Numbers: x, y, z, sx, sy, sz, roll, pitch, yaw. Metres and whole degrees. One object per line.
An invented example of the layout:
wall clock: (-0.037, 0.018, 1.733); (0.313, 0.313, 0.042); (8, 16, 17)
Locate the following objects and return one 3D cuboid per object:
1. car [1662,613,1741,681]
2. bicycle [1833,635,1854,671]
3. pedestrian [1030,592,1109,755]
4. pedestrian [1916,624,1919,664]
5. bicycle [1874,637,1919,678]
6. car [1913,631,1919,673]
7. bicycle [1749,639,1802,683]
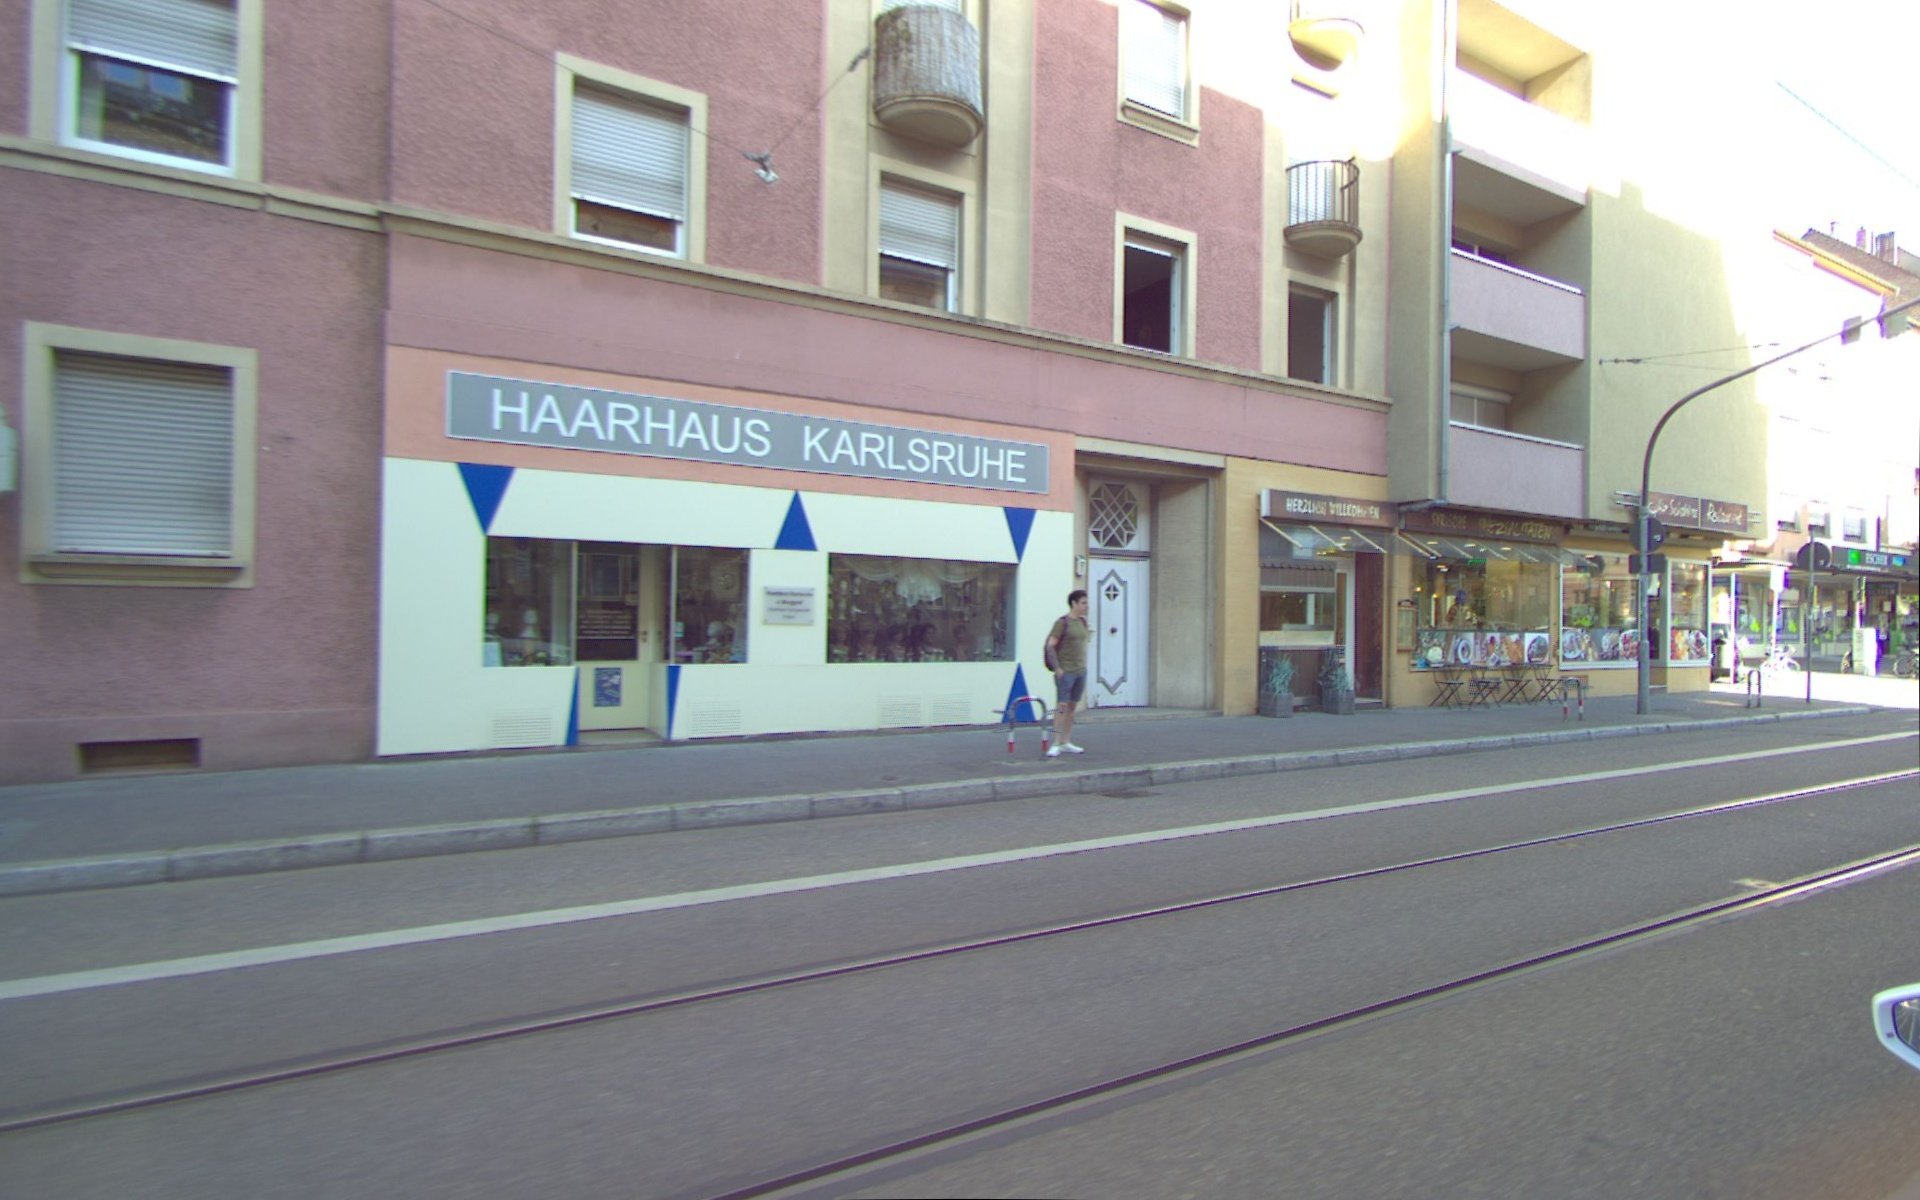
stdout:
car: (23.704, 1.447, 32.065); (1.821, 1.841, 4.338); (-3, 0, 38)
bicycle: (28.296, 1.693, 32.194); (0.398, 1.124, 1.830); (0, -2, 38)
pedestrian: (1.187, 0.776, 10.943); (0.609, 1.708, 0.560); (2, 0, -32)
pedestrian: (40.061, 1.831, 41.558); (0.634, 1.674, 0.566); (1, 0, -30)
bicycle: (28.873, 1.746, 30.344); (0.670, 1.124, 2.437); (-1, 1, 10)
car: (32.331, 1.710, 31.334); (3.406, 1.355, 1.623); (1, 0, 26)
bicycle: (24.095, 1.787, 29.663); (2.413, 1.124, 0.676); (-1, 1, -37)
